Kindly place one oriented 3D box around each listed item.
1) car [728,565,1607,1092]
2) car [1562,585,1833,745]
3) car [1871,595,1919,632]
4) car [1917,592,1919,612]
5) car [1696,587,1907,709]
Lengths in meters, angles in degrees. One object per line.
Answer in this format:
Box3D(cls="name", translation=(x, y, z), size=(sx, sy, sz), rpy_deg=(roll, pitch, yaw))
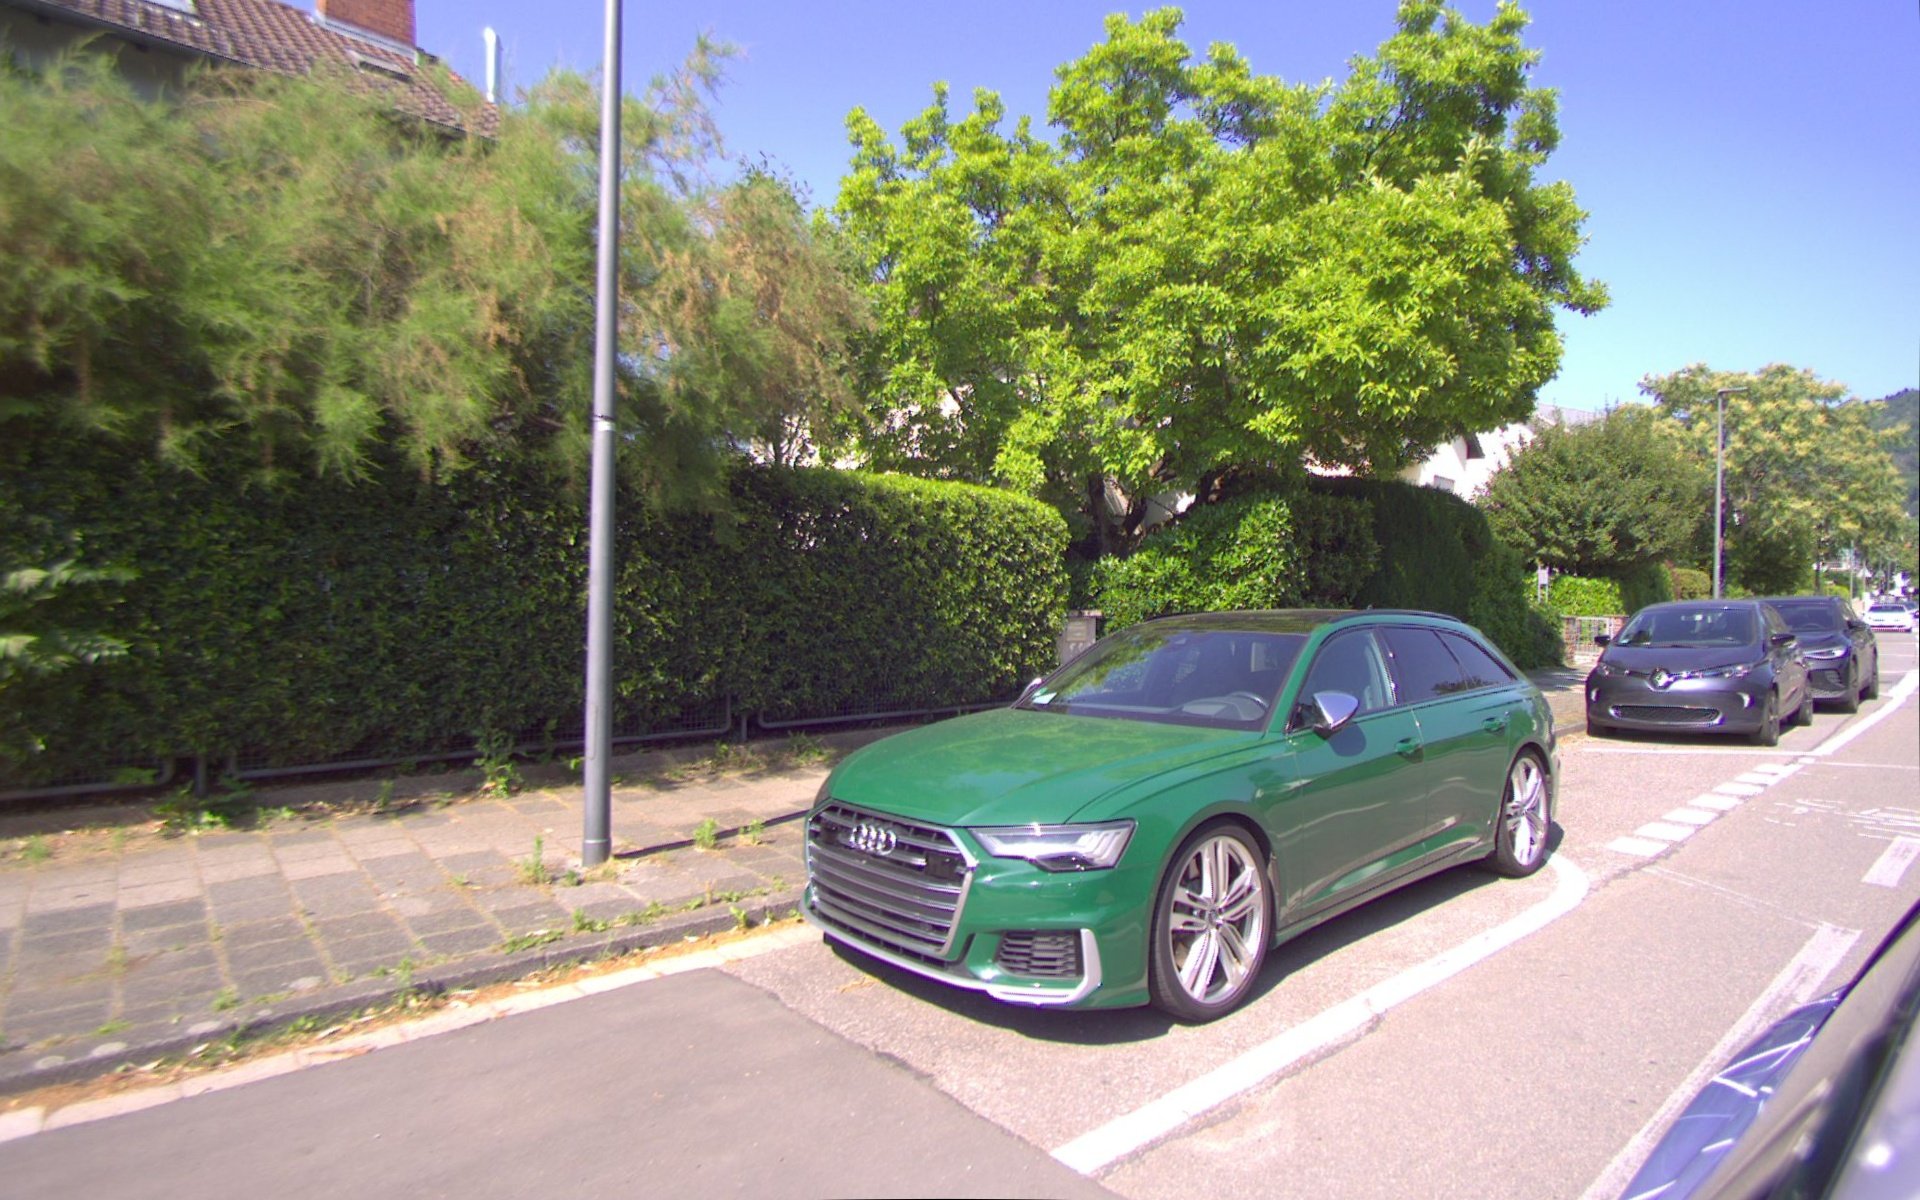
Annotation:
Box3D(cls="car", translation=(1.388, 0.688, 5.090), size=(4.702, 1.482, 1.815), rpy_deg=(1, -2, -40))
Box3D(cls="car", translation=(8.801, 0.699, 11.965), size=(3.850, 1.579, 1.813), rpy_deg=(1, -4, -43))
Box3D(cls="car", translation=(45.513, 0.622, 48.992), size=(1.992, 1.727, 3.941), rpy_deg=(1, 1, 41))
Box3D(cls="car", translation=(84.026, 0.193, 87.250), size=(1.992, 1.727, 3.941), rpy_deg=(1, 1, 41))
Box3D(cls="car", translation=(12.849, 0.661, 15.354), size=(4.520, 1.579, 1.814), rpy_deg=(1, -2, -42))
